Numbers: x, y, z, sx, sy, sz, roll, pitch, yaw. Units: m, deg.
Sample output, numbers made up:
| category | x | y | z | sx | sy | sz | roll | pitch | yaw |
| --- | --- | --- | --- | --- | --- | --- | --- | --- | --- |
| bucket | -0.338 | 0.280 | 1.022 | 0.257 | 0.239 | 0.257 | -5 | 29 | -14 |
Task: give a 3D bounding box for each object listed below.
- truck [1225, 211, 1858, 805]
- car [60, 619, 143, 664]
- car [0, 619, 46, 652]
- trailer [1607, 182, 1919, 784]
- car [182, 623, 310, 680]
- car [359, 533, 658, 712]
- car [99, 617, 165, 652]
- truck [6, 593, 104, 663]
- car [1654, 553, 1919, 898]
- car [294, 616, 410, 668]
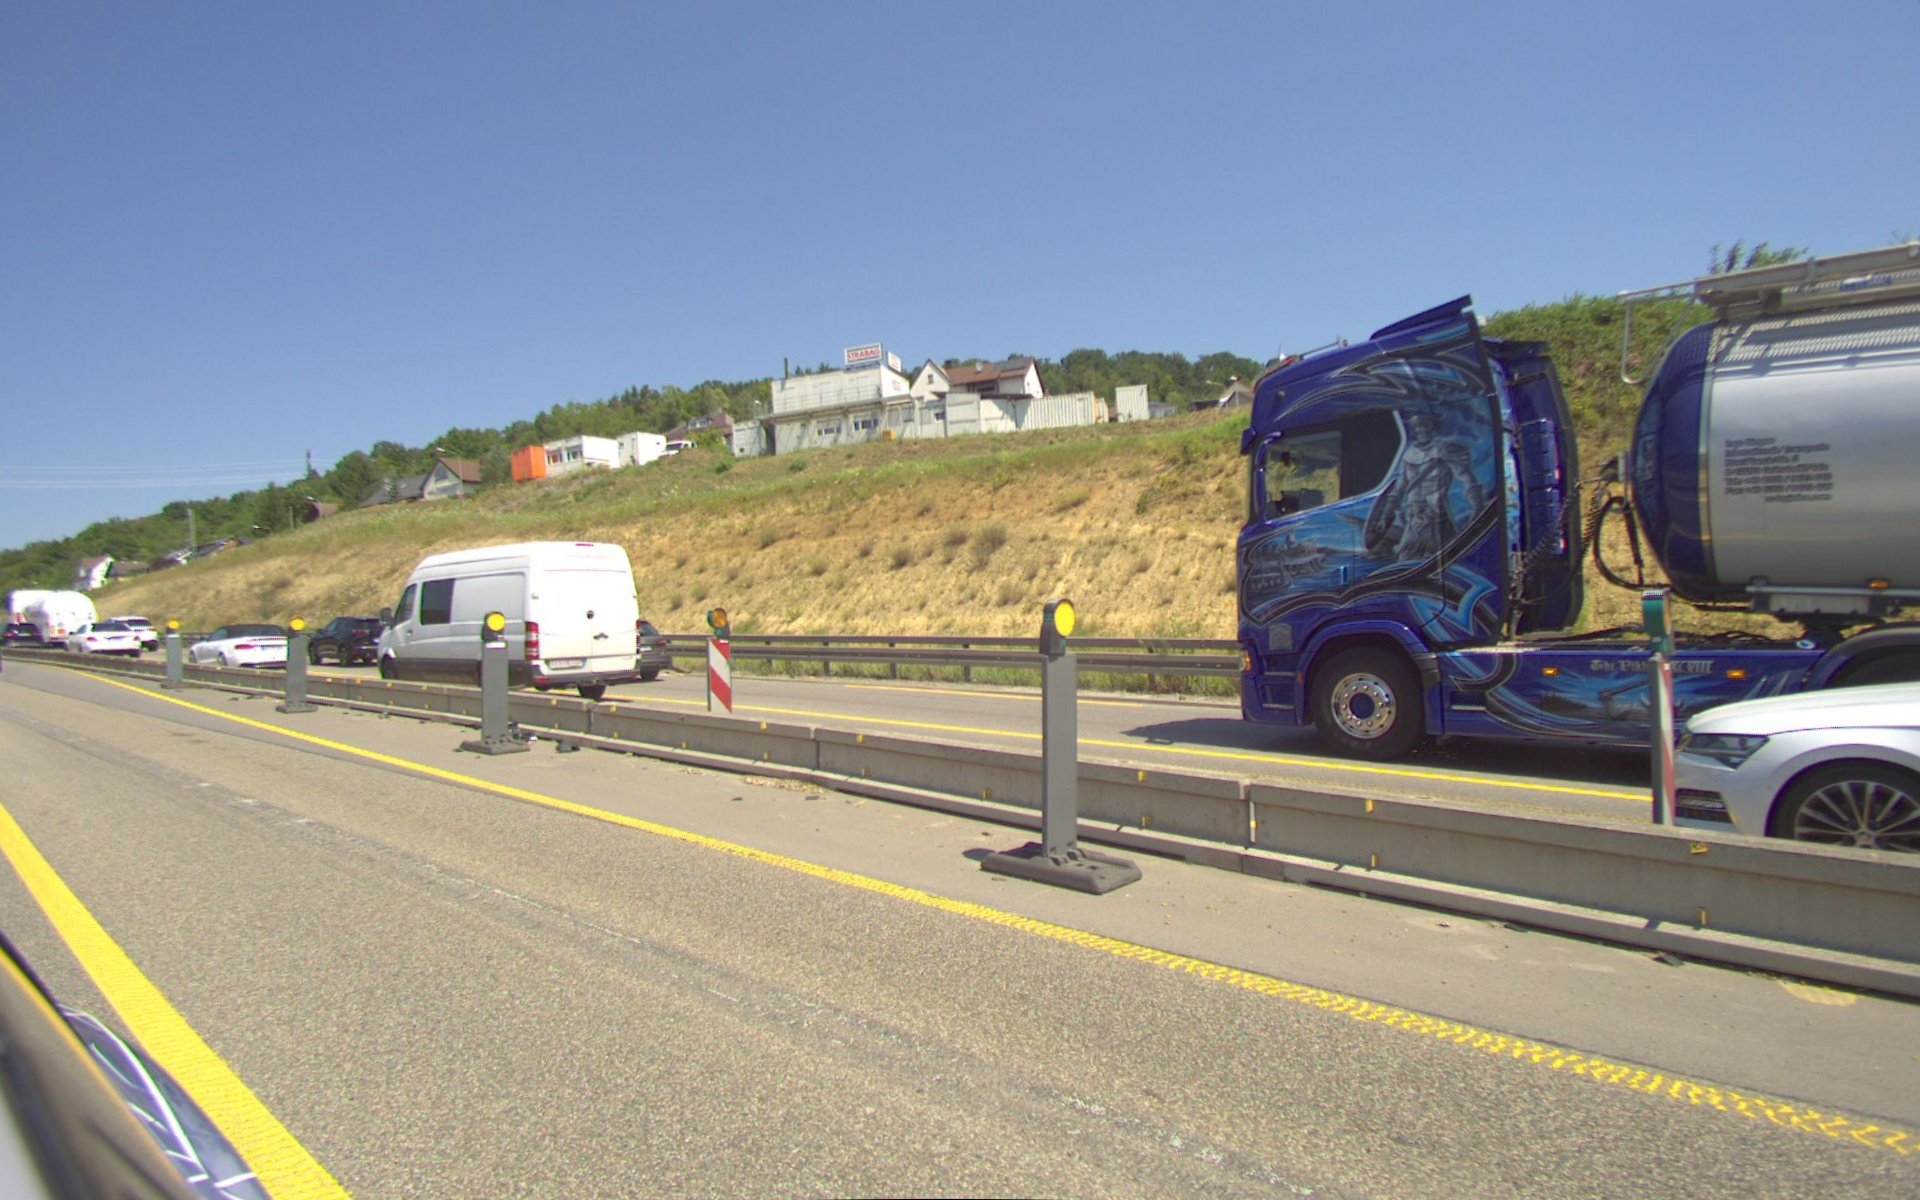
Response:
| category | x | y | z | sx | sy | sz | roll | pitch | yaw |
| --- | --- | --- | --- | --- | --- | --- | --- | --- | --- |
| truck | 5.170 | -0.613 | 9.345 | 4.589 | 4.006 | 2.554 | -1 | 0 | 43 |
| car | -34.388 | 1.621 | 40.497 | 4.386 | 1.648 | 1.815 | -2 | -1 | 40 |
| car | -51.017 | 1.895 | 54.695 | 4.386 | 1.648 | 1.815 | -2 | -1 | 40 |
| trailer | 9.902 | -0.802 | 4.748 | 11.277 | 3.900 | 2.570 | -1 | 0 | 44 |
| car | -19.494 | 1.355 | 27.562 | 4.386 | 1.387 | 1.815 | -2 | -1 | 40 |
| car | -8.221 | 0.391 | 17.983 | 6.623 | 2.649 | 2.184 | -2 | -1 | 40 |
| car | -41.867 | 1.724 | 51.148 | 4.386 | 1.648 | 1.815 | -2 | -1 | 40 |
| truck | -57.769 | 1.674 | 64.428 | 13.151 | 4.077 | 3.075 | -1 | 0 | 41 |
| car | 5.911 | 0.521 | 4.102 | 1.813 | 1.530 | 4.846 | -1 | -1 | -45 |
| car | -19.171 | 1.283 | 31.846 | 4.386 | 1.502 | 1.815 | -2 | -1 | 40 |
